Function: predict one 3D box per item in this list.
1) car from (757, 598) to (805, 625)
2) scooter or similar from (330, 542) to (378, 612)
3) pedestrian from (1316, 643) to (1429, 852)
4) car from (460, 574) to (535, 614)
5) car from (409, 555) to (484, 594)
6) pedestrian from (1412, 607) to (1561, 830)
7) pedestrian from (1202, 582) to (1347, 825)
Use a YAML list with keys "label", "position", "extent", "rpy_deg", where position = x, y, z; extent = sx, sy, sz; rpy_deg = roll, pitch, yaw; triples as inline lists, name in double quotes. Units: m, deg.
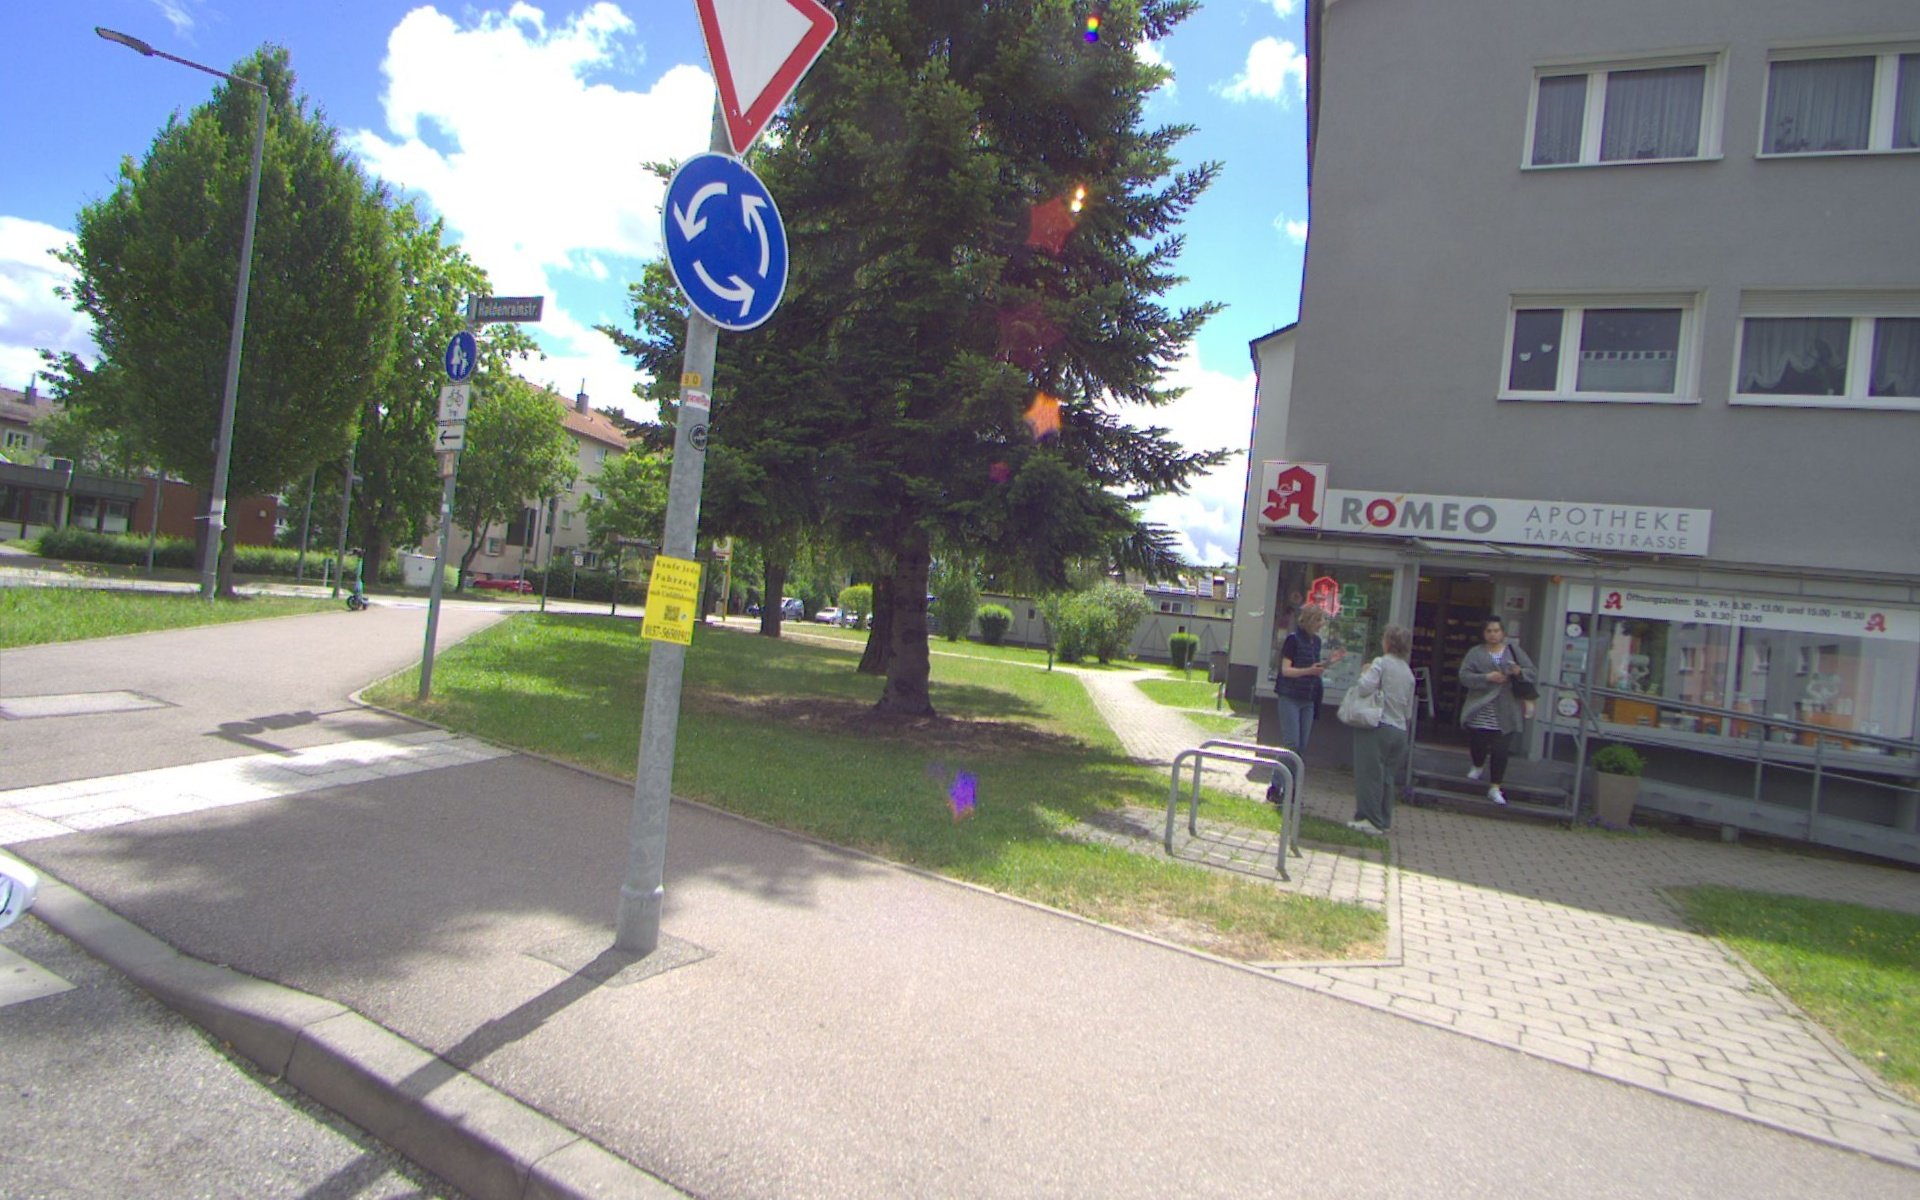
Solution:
- label: "car"
  position: [-13.421, 0.917, 75.760]
  extent: [1.962, 1.570, 4.006]
  rpy_deg: [7, -3, 13]
- label: "scooter or similar"
  position: [-12.579, -0.485, 20.914]
  extent: [0.479, 1.360, 1.382]
  rpy_deg: [5, 1, -19]
- label: "pedestrian"
  position: [3.390, 1.172, 8.260]
  extent: [0.679, 1.548, 0.743]
  rpy_deg: [6, 0, 25]
- label: "car"
  position: [-29.945, -0.379, 65.152]
  extent: [3.925, 1.963, 2.021]
  rpy_deg: [6, -2, 18]
- label: "car"
  position: [-33.995, -1.683, 66.618]
  extent: [3.925, 1.963, 2.002]
  rpy_deg: [7, -2, 18]
- label: "pedestrian"
  position: [5.103, 1.115, 9.829]
  extent: [0.924, 1.980, 0.843]
  rpy_deg: [6, 0, 13]
- label: "pedestrian"
  position: [2.897, 0.917, 9.250]
  extent: [1.027, 2.038, 0.655]
  rpy_deg: [6, 0, 21]
